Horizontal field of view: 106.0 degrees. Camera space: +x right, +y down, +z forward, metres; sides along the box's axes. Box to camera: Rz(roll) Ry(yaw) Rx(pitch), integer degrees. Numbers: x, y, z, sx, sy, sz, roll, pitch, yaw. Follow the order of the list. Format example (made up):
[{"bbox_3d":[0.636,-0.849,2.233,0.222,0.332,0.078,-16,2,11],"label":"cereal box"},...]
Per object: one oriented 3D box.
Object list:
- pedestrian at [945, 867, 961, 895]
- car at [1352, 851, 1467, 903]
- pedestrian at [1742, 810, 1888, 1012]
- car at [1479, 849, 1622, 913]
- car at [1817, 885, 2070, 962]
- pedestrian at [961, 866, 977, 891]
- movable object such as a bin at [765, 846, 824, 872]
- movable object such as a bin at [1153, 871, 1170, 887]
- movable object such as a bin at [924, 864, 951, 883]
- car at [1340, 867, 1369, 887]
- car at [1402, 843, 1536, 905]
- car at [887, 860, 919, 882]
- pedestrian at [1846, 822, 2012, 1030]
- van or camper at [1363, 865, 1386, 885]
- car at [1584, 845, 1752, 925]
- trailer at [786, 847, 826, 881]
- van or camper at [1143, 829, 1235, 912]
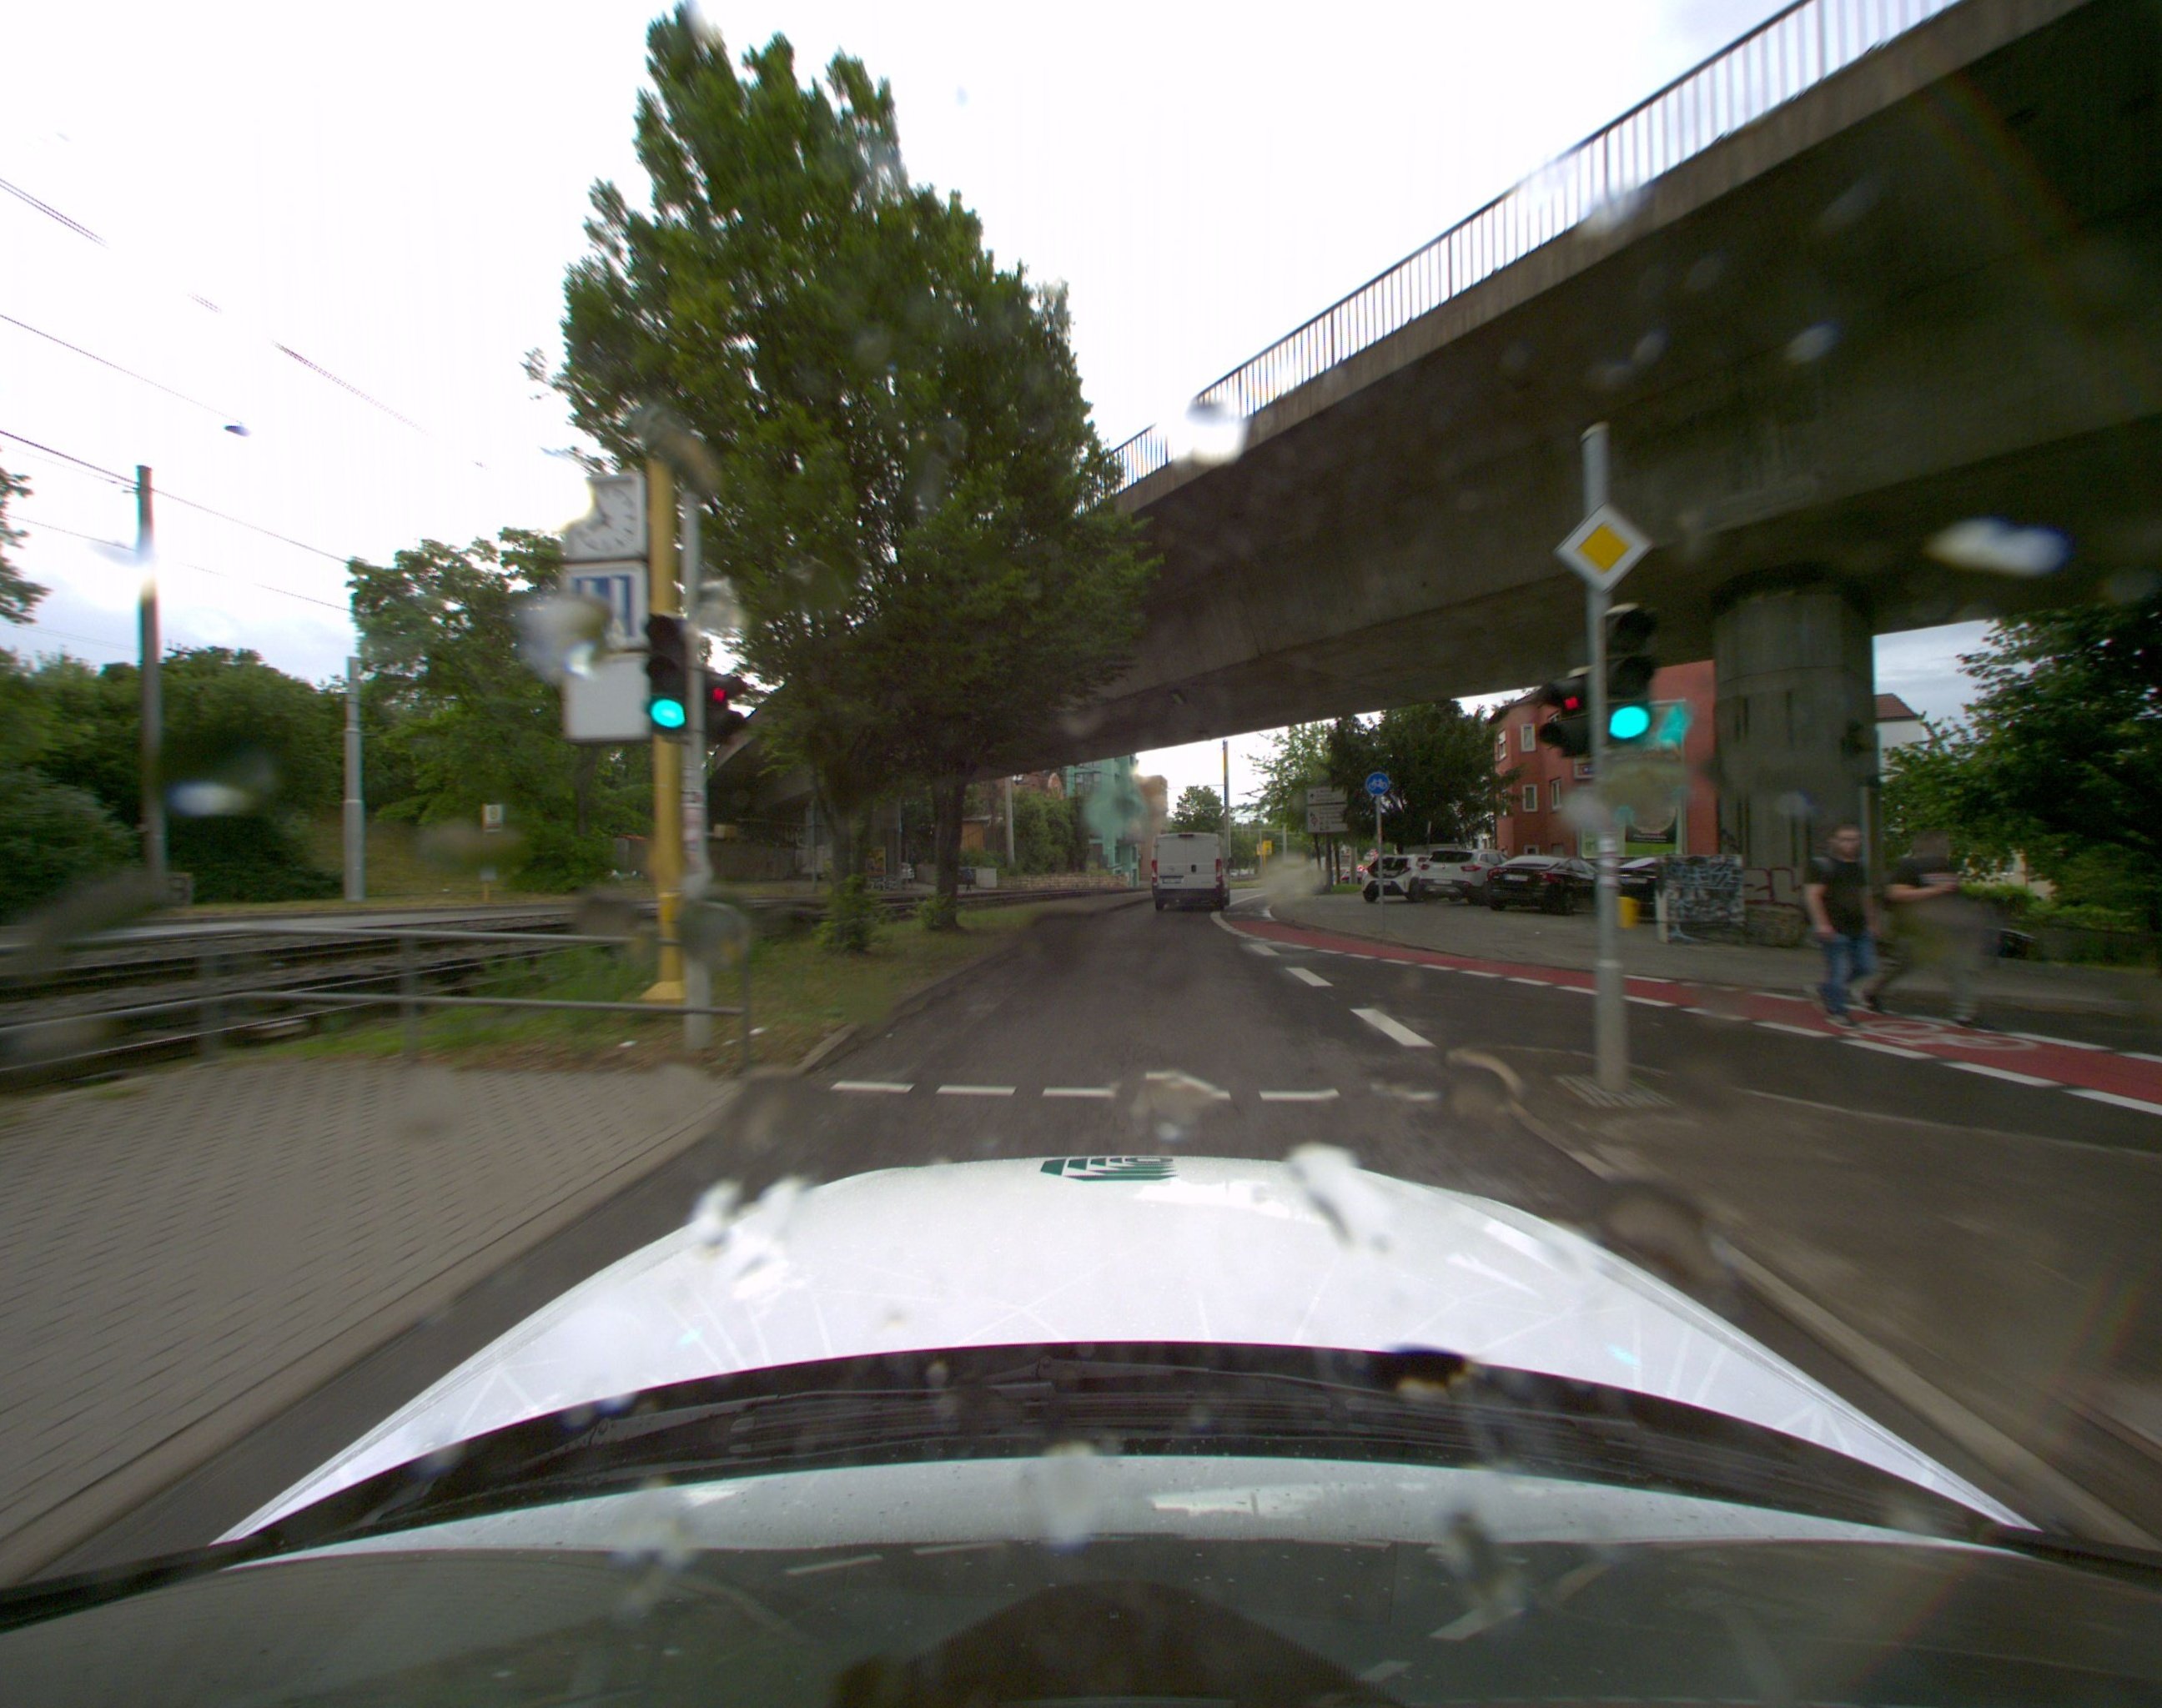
[{"bbox_3d":[-8.695,1.814,55.198,0.687,1.831,0.871,0,-1,22],"label":"pedestrian"},{"bbox_3d":[10.439,0.701,25.791,3.754,1.522,1.782,0,-1,-39],"label":"car"},{"bbox_3d":[6.954,0.523,7.755,0.625,1.808,0.833,2,-2,-9],"label":"pedestrian"},{"bbox_3d":[11.743,0.622,20.279,4.070,1.439,1.766,0,-1,-39],"label":"car"},{"bbox_3d":[21.817,1.707,20.833,3.955,1.596,2.009,2,0,18],"label":"car"},{"bbox_3d":[-7.580,1.664,54.969,0.687,1.670,0.893,0,-1,25],"label":"pedestrian"},{"bbox_3d":[-28.227,0.546,80.467,2.605,2.453,5.489,0,-1,20],"label":"movable object such as a bin"},{"bbox_3d":[11.103,3.448,112.355,2.118,2.157,1.809,1,0,14],"label":"movable object such as a bin"},{"bbox_3d":[-11.687,1.578,66.336,1.567,1.479,1.784,1,0,-33],"label":"movable object such as a bin"},{"bbox_3d":[20.118,1.711,59.789,1.662,1.423,4.590,0,-2,24],"label":"car"},{"bbox_3d":[11.158,0.542,23.319,4.044,1.631,1.944,0,-1,-39],"label":"car"},{"bbox_3d":[-14.618,1.378,66.766,1.724,1.667,3.168,2,0,-30],"label":"car"},{"bbox_3d":[7.911,0.644,7.636,0.597,1.822,0.905,2,-2,-12],"label":"pedestrian"},{"bbox_3d":[28.905,2.052,80.056,1.835,1.920,5.021,-2,-2,23],"label":"van or camper"},{"bbox_3d":[12.934,0.671,17.882,4.017,1.572,1.884,2,-2,-37],"label":"car"},{"bbox_3d":[-22.371,0.832,66.120,2.008,2.725,4.079,1,-1,-35],"label":"trailer"},{"bbox_3d":[3.388,0.496,24.776,2.183,2.253,4.701,1,-1,14],"label":"van or camper"}]
